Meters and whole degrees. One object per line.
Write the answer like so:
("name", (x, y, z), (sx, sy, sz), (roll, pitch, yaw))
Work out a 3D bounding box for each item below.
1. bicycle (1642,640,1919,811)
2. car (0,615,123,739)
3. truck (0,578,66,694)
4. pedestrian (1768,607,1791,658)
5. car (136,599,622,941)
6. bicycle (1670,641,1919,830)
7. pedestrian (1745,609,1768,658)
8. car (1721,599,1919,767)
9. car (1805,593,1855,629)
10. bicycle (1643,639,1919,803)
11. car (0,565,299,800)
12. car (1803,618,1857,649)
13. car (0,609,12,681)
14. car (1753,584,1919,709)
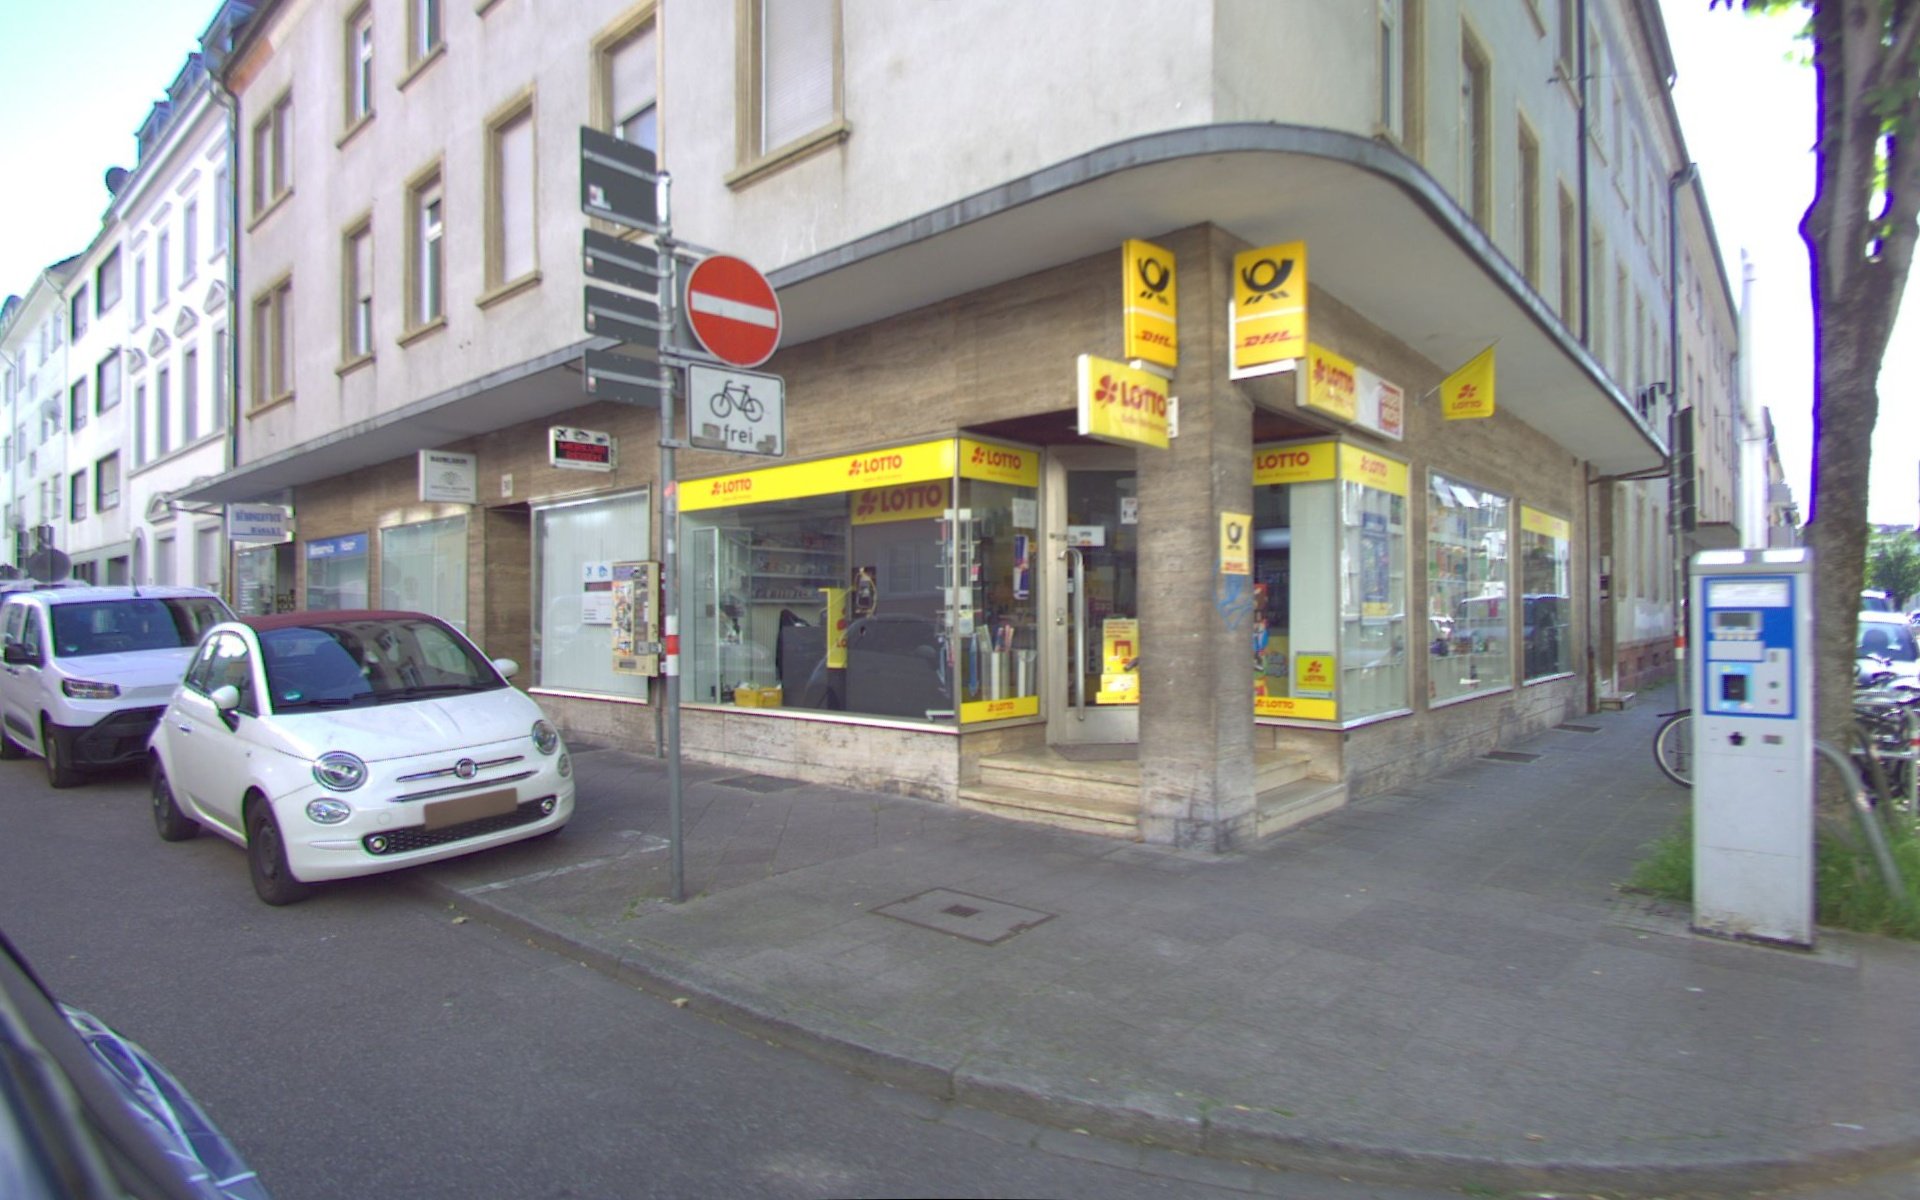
("bicycle", (6.509, 0.901, 7.476), (2.402, 1.126, 0.516), (0, 0, 41))
("car", (-13.360, 1.004, 14.239), (4.485, 1.534, 1.647), (-1, -3, 40))
("truck", (-21.736, 0.707, 21.935), (6.335, 2.326, 2.145), (0, -2, 36))
("pedestrian", (29.500, 1.157, 36.439), (0.624, 1.802, 0.655), (0, 0, 42))
("car", (-3.893, 0.802, 6.522), (3.721, 1.572, 1.650), (-1, -1, 42))
("bicycle", (6.238, 0.891, 6.833), (2.307, 1.151, 0.700), (0, 0, 42))
("pedestrian", (28.615, 1.180, 36.364), (0.624, 1.730, 0.655), (0, 0, 42))
("car", (10.293, 0.823, 11.751), (1.902, 1.598, 4.180), (2, 1, 43))
("car", (48.319, 0.579, 56.158), (2.000, 1.909, 4.639), (0, 0, 42))
("bicycle", (6.848, 0.918, 7.965), (2.423, 1.135, 0.701), (1, 0, 34))
("car", (-8.693, 0.736, 10.474), (4.805, 1.913, 1.749), (-1, -3, 40))
("car", (40.905, 1.561, 47.562), (1.780, 1.407, 3.617), (-2, -3, 43))
("car", (-27.800, 1.177, 27.587), (5.176, 1.896, 1.895), (-1, -3, 37))
("car", (15.888, 0.731, 18.319), (2.085, 1.961, 4.534), (1, 0, 42))
